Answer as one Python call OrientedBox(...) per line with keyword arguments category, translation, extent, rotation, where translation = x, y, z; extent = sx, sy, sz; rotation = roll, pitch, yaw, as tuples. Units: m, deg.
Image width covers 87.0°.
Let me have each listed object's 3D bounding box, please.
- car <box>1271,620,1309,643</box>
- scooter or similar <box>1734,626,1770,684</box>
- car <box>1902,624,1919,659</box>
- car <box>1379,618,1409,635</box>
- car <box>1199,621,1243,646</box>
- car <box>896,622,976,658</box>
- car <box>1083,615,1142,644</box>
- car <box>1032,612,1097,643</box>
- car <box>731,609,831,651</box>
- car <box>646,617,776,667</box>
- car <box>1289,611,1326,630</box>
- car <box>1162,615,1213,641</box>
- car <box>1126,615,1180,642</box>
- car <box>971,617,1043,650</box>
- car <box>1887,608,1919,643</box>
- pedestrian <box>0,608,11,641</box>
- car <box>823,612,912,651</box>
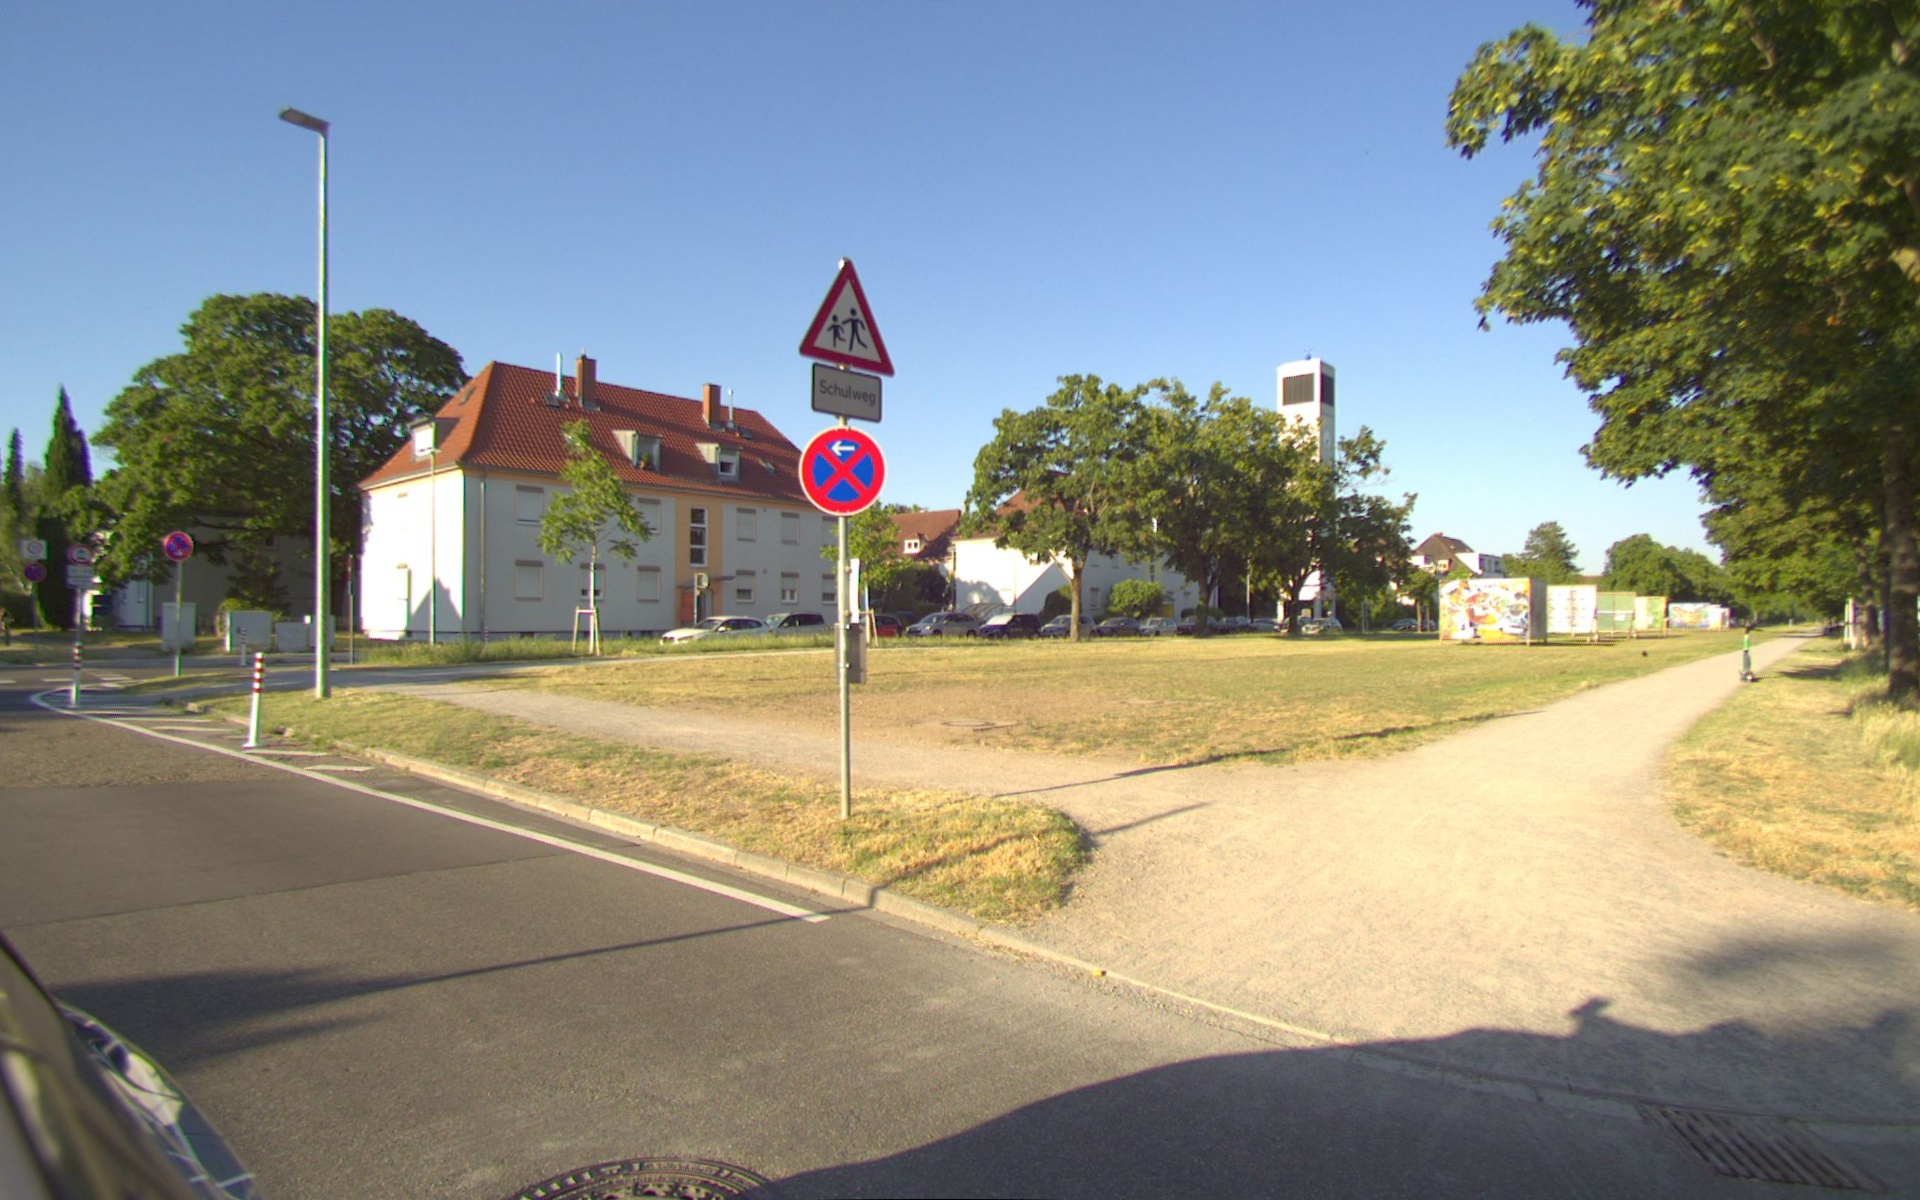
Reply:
OrientedBox(category="car", translation=(26.925, 2.558, 82.601), extent=(1.806, 1.730, 3.299), rotation=(0, 0, 41))
OrientedBox(category="scooter or similar", translation=(16.103, 1.103, 20.564), extent=(0.453, 1.124, 1.625), rotation=(-1, -2, 42))
OrientedBox(category="car", translation=(46.195, 1.974, 48.201), extent=(1.826, 1.592, 3.783), rotation=(-1, -1, 41))
OrientedBox(category="car", translation=(45.114, 2.718, 105.212), extent=(1.849, 1.708, 3.947), rotation=(-3, -3, 39))
OrientedBox(category="car", translation=(19.167, 2.417, 74.226), extent=(1.806, 1.730, 3.299), rotation=(0, 0, 41))
OrientedBox(category="car", translation=(-1.139, 1.983, 50.482), extent=(1.849, 1.708, 3.947), rotation=(-3, -3, 39))
OrientedBox(category="car", translation=(9.501, 1.823, 62.984), extent=(1.849, 1.708, 3.947), rotation=(-3, -3, 39))
OrientedBox(category="car", translation=(6.101, 1.599, 58.947), extent=(1.849, 1.708, 3.947), rotation=(-3, -3, 39))
OrientedBox(category="car", translation=(-7.577, 1.266, 43.121), extent=(1.849, 1.708, 3.947), rotation=(-3, -3, 39))
OrientedBox(category="car", translation=(-8.869, 1.482, 36.331), extent=(1.869, 1.708, 4.244), rotation=(-3, -3, 39))
OrientedBox(category="car", translation=(31.490, 1.851, 91.673), extent=(1.849, 1.708, 3.947), rotation=(-3, -3, 39))
OrientedBox(category="car", translation=(15.900, 1.949, 70.664), extent=(1.849, 1.708, 3.947), rotation=(-3, -3, 39))
OrientedBox(category="car", translation=(12.762, 1.853, 66.776), extent=(1.849, 1.708, 3.947), rotation=(-3, -3, 39))
OrientedBox(category="car", translation=(2.552, 1.783, 54.306), extent=(1.849, 1.708, 3.947), rotation=(-3, -3, 39))
OrientedBox(category="car", translation=(56.335, 1.494, 59.715), extent=(2.230, 1.960, 4.443), rotation=(-1, -1, 44))
OrientedBox(category="pedestrian", translation=(-60.610, 1.538, 63.894), extent=(0.692, 2.029, 0.887), rotation=(-1, -1, 40))
OrientedBox(category="car", translation=(-4.273, 1.439, 47.100), extent=(1.849, 1.708, 3.947), rotation=(-3, -3, 39))
